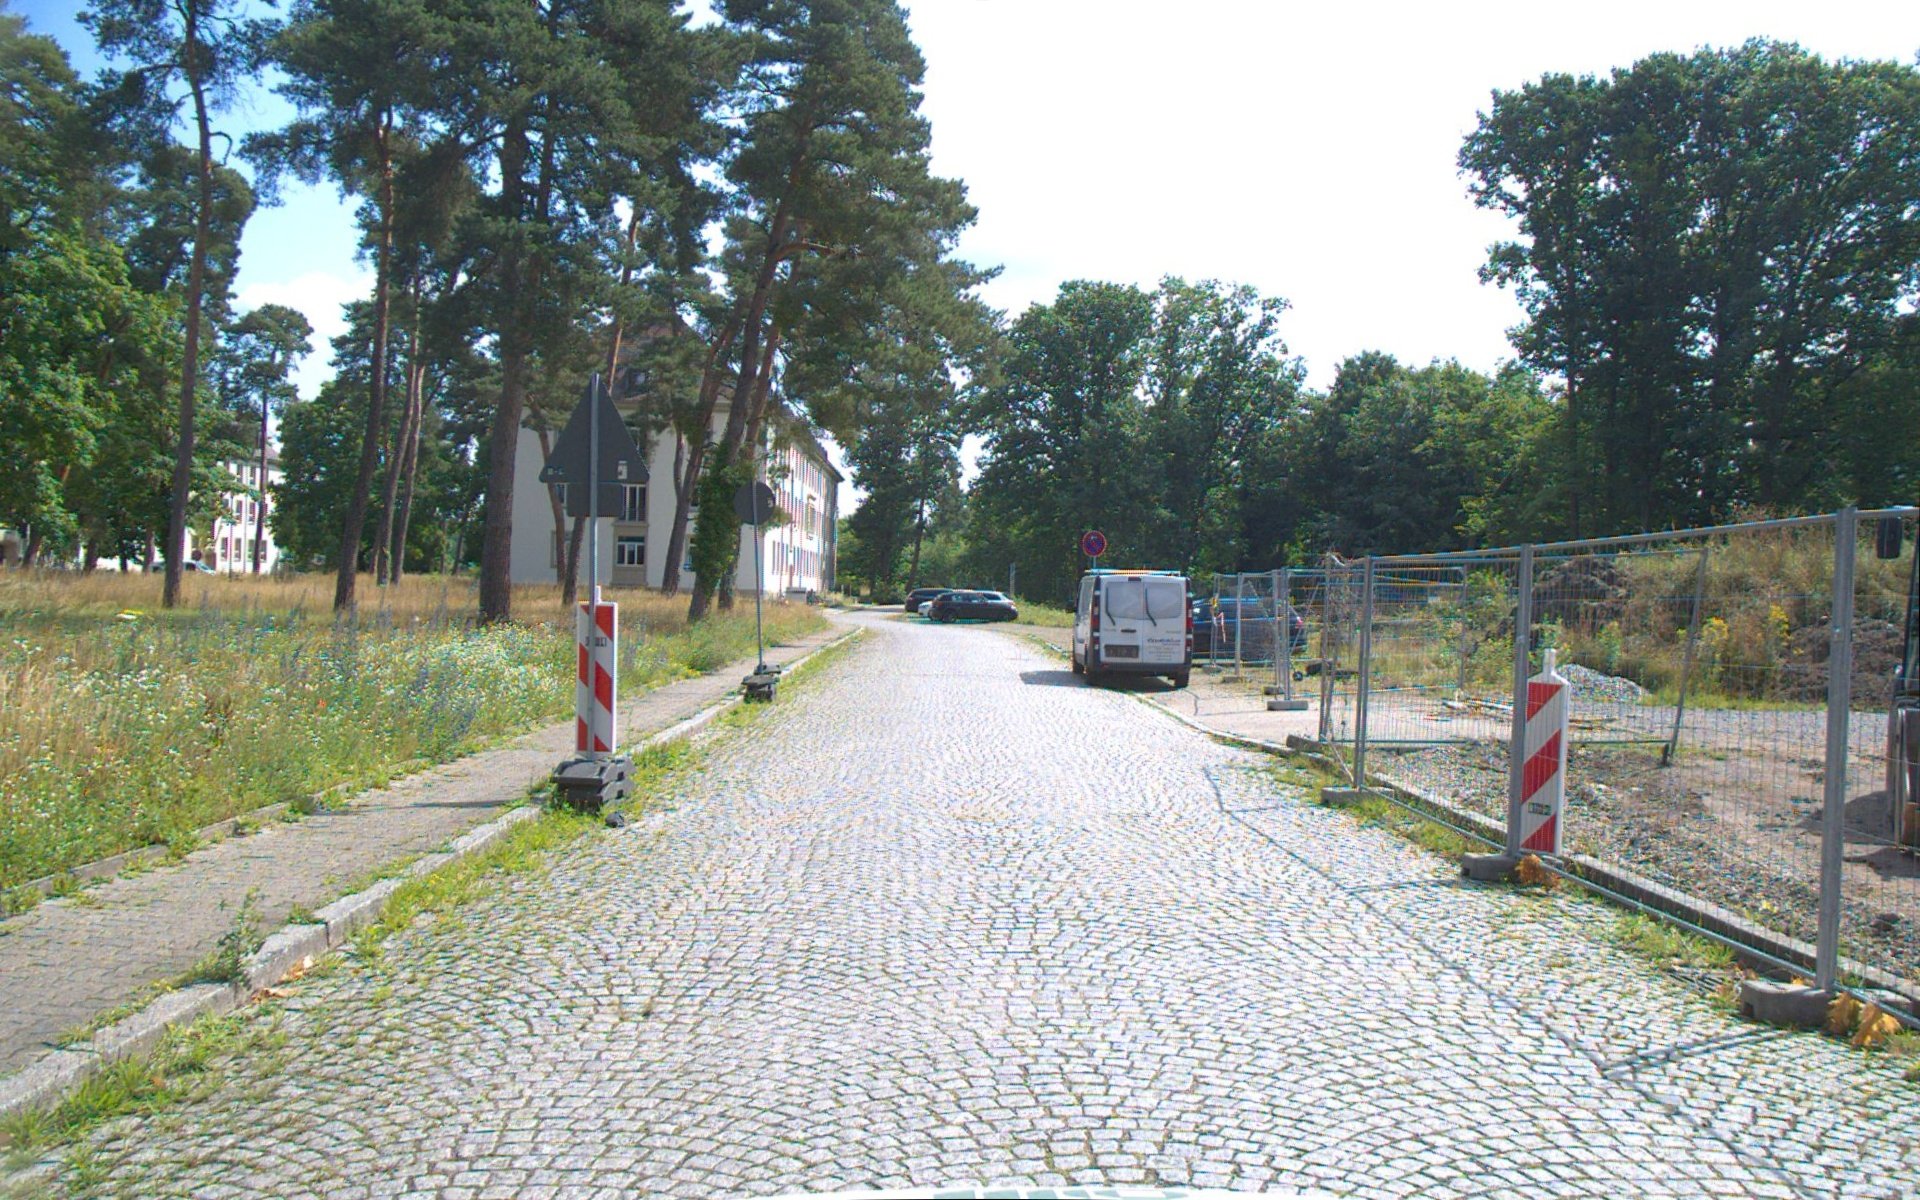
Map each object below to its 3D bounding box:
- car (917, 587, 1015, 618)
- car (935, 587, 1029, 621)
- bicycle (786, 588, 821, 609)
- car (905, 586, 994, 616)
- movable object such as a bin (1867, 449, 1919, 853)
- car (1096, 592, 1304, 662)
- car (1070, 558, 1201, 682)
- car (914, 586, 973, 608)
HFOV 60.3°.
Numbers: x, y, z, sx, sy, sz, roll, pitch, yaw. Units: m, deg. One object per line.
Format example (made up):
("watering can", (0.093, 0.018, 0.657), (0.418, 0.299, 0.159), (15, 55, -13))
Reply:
("car", (0.284, 0.122, 81.612), (4.764, 1.498, 1.874), (0, 1, -3))
("car", (1.010, 0.176, 78.645), (4.244, 1.526, 1.826), (0, 1, -9))
("bicycle", (-10.004, -0.111, 105.829), (2.176, 1.282, 0.623), (1, 0, 1))
("car", (-0.601, 0.066, 88.948), (4.755, 1.580, 1.879), (0, 0, -3))
("movable object such as a bin", (8.207, 0.300, 12.592), (2.101, 2.565, 5.649), (1, 1, 27))
("car", (5.362, 0.582, 37.210), (4.367, 1.501, 1.744), (0, 0, -5))
("car", (3.191, 0.339, 31.156), (1.875, 2.089, 5.678), (1, 0, 0))
("car", (-1.141, -0.191, 117.069), (4.101, 1.570, 1.820), (0, 0, 1))
